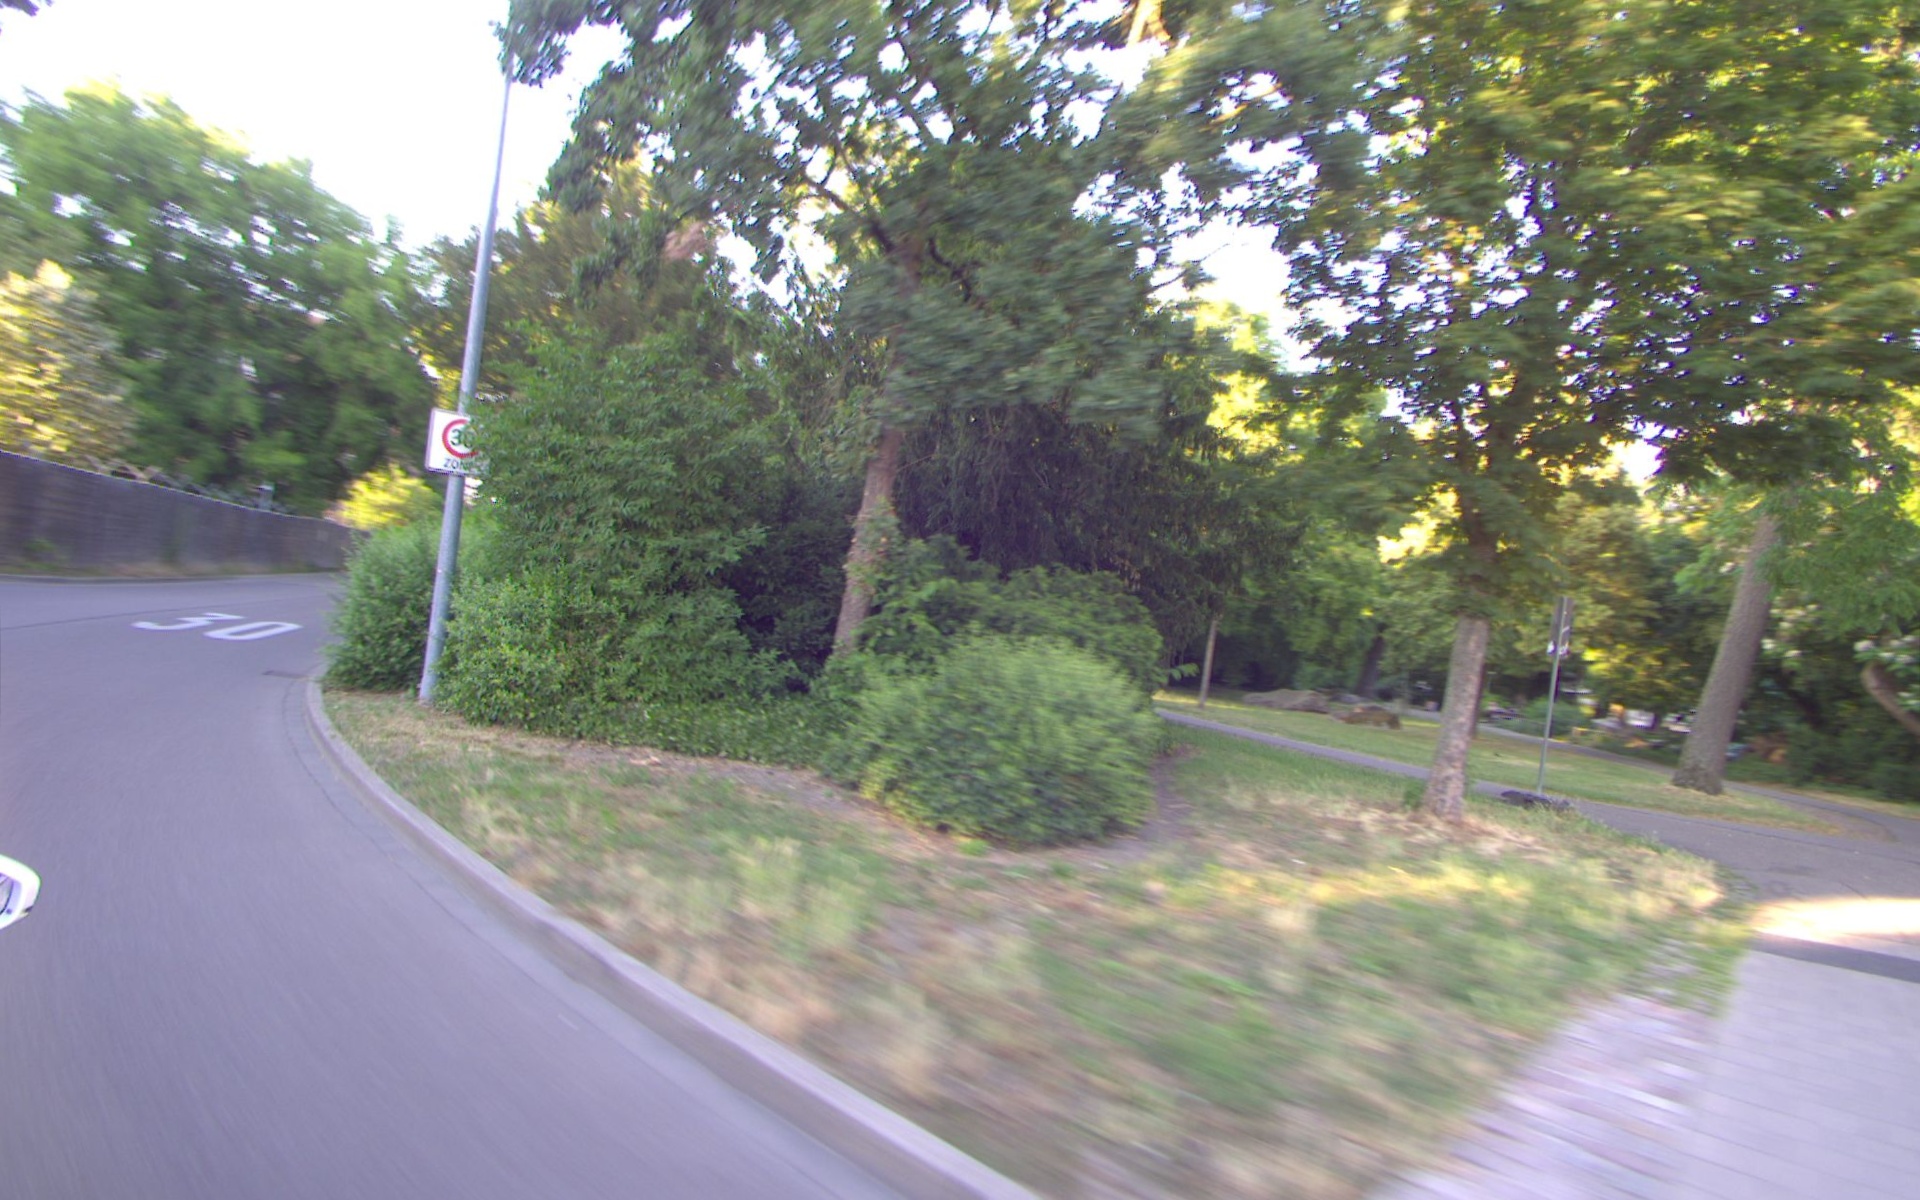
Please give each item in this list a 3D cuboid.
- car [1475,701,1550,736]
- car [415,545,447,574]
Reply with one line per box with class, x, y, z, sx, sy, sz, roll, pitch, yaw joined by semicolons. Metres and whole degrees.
car;29.680;6.353;54.089;3.172;1.370;1.564;7;-1;19
car;-46.045;-3.483;87.670;1.866;2.035;5.199;10;-3;-24
